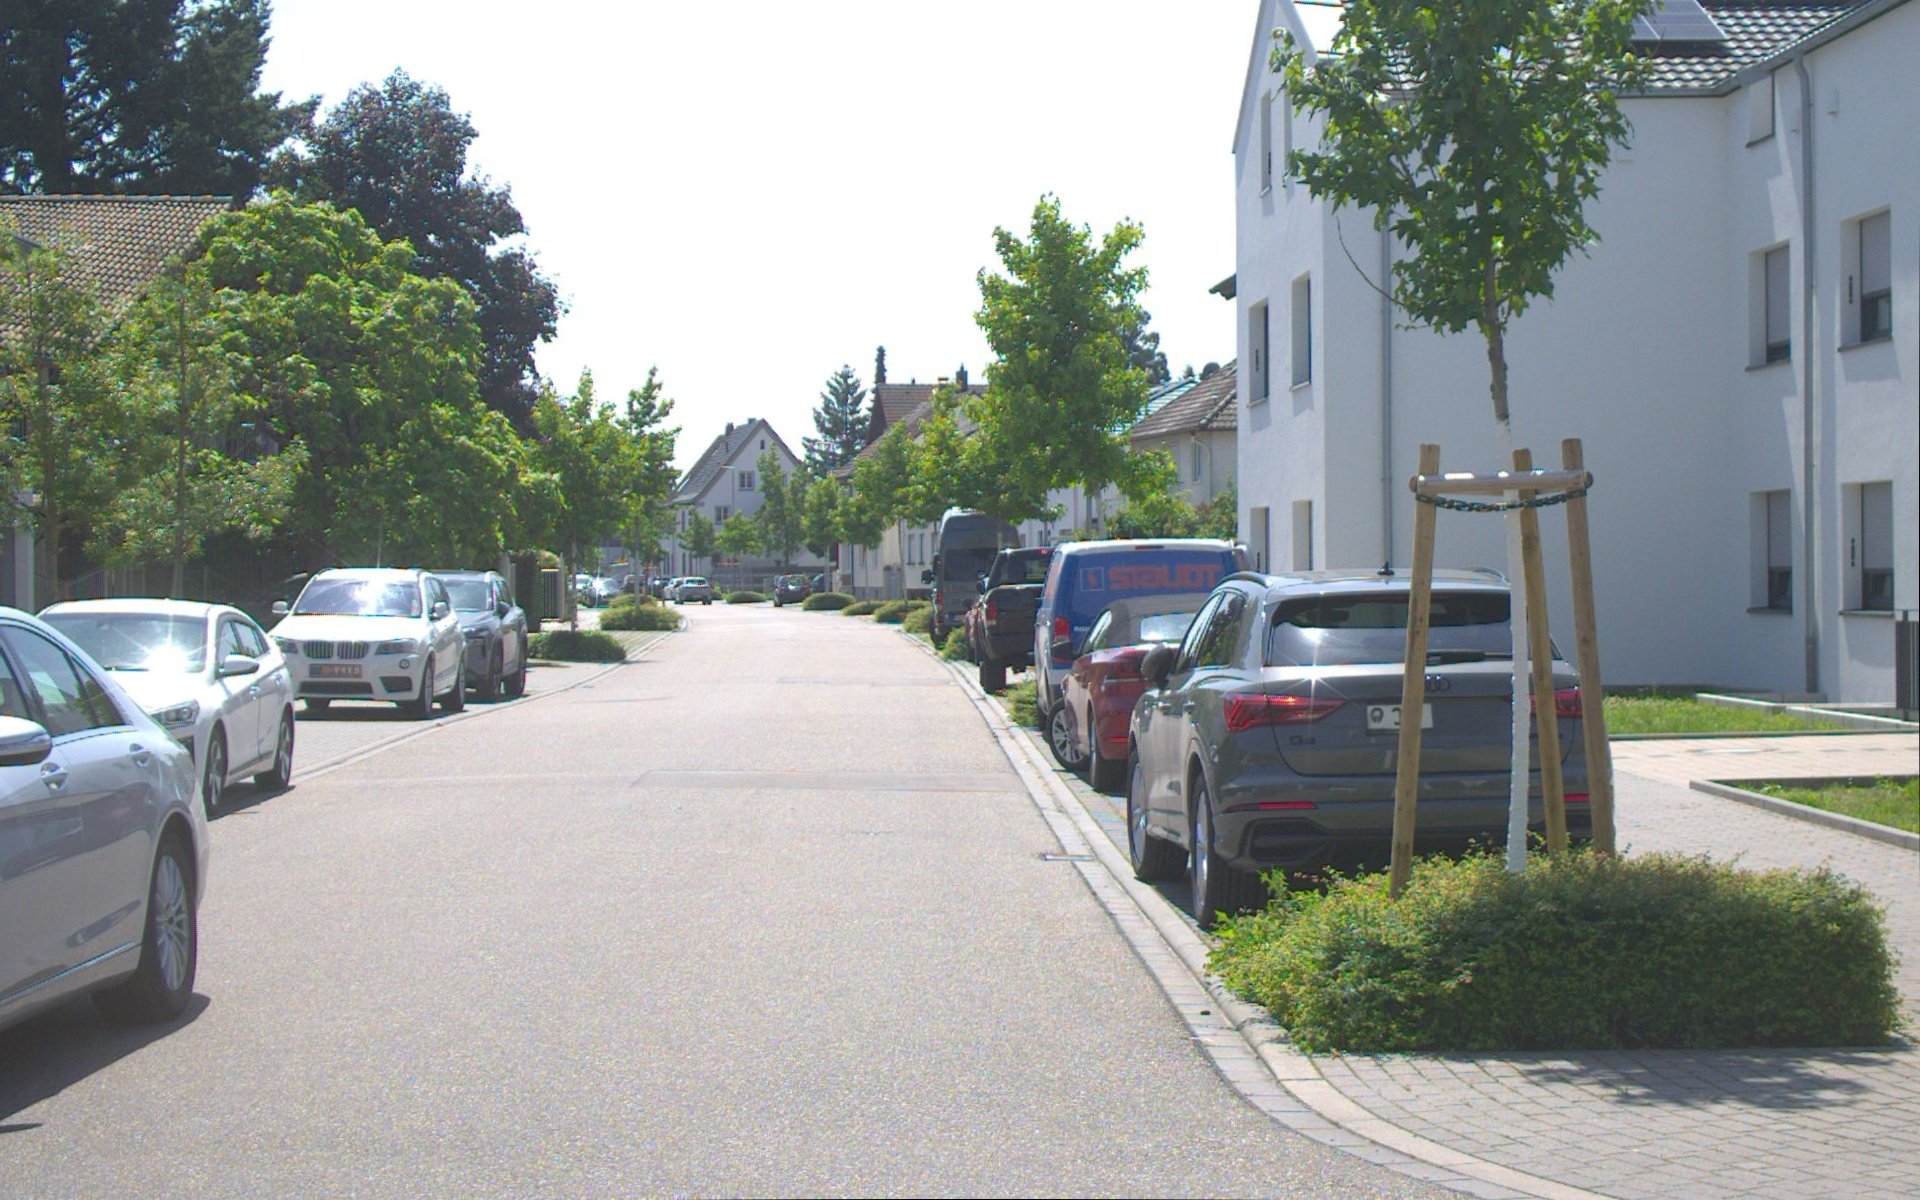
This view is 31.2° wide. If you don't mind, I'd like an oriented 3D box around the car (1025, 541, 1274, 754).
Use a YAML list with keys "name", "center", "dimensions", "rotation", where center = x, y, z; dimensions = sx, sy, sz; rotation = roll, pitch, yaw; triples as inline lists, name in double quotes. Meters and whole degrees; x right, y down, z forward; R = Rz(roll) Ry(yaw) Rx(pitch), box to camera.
- name: "car"
  center: [1.730, 0.409, 32.955]
  dimensions: [2.099, 1.875, 4.843]
  rotation: [0, 0, 0]

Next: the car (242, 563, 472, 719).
- name: "car"
  center: [-6.869, 0.429, 39.600]
  dimensions: [1.927, 1.681, 4.498]
  rotation: [0, 0, -1]

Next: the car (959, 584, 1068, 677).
- name: "car"
  center: [0.928, 0.521, 61.291]
  dimensions: [1.670, 1.590, 3.556]
  rotation: [-1, 0, -3]

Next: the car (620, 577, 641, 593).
- name: "car"
  center: [-22.568, -1.003, 235.609]
  dimensions: [1.188, 1.067, 3.054]
  rotation: [0, 0, -10]

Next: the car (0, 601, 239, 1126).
- name: "car"
  center: [-3.670, 0.791, 10.333]
  dimensions: [1.853, 1.473, 4.700]
  rotation: [-2, 0, 2]

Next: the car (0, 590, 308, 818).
- name: "car"
  center: [-6.038, 0.685, 24.914]
  dimensions: [1.852, 1.483, 4.385]
  rotation: [0, 0, -1]

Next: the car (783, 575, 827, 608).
- name: "car"
  center: [-7.487, -0.427, 166.422]
  dimensions: [1.993, 1.568, 4.000]
  rotation: [-1, 0, -1]

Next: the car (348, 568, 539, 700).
- name: "car"
  center: [-6.885, 0.424, 46.220]
  dimensions: [1.993, 1.674, 4.214]
  rotation: [0, 0, -1]

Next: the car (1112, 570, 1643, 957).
- name: "car"
  center: [1.839, 0.666, 16.459]
  dimensions: [1.773, 1.590, 4.279]
  rotation: [-1, 0, -3]

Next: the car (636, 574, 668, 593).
- name: "car"
  center: [-20.324, -1.073, 226.656]
  dimensions: [1.662, 1.246, 3.933]
  rotation: [-1, 0, -12]

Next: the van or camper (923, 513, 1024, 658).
- name: "van or camper"
  center: [0.257, -0.308, 72.166]
  dimensions: [1.993, 2.931, 4.000]
  rotation: [-1, 0, -1]

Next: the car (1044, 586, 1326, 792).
- name: "car"
  center: [1.660, 0.626, 26.548]
  dimensions: [1.679, 1.437, 4.027]
  rotation: [0, 0, -3]

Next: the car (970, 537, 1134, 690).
- name: "car"
  center: [1.205, 0.156, 47.316]
  dimensions: [1.993, 1.940, 5.215]
  rotation: [-1, 0, -1]
